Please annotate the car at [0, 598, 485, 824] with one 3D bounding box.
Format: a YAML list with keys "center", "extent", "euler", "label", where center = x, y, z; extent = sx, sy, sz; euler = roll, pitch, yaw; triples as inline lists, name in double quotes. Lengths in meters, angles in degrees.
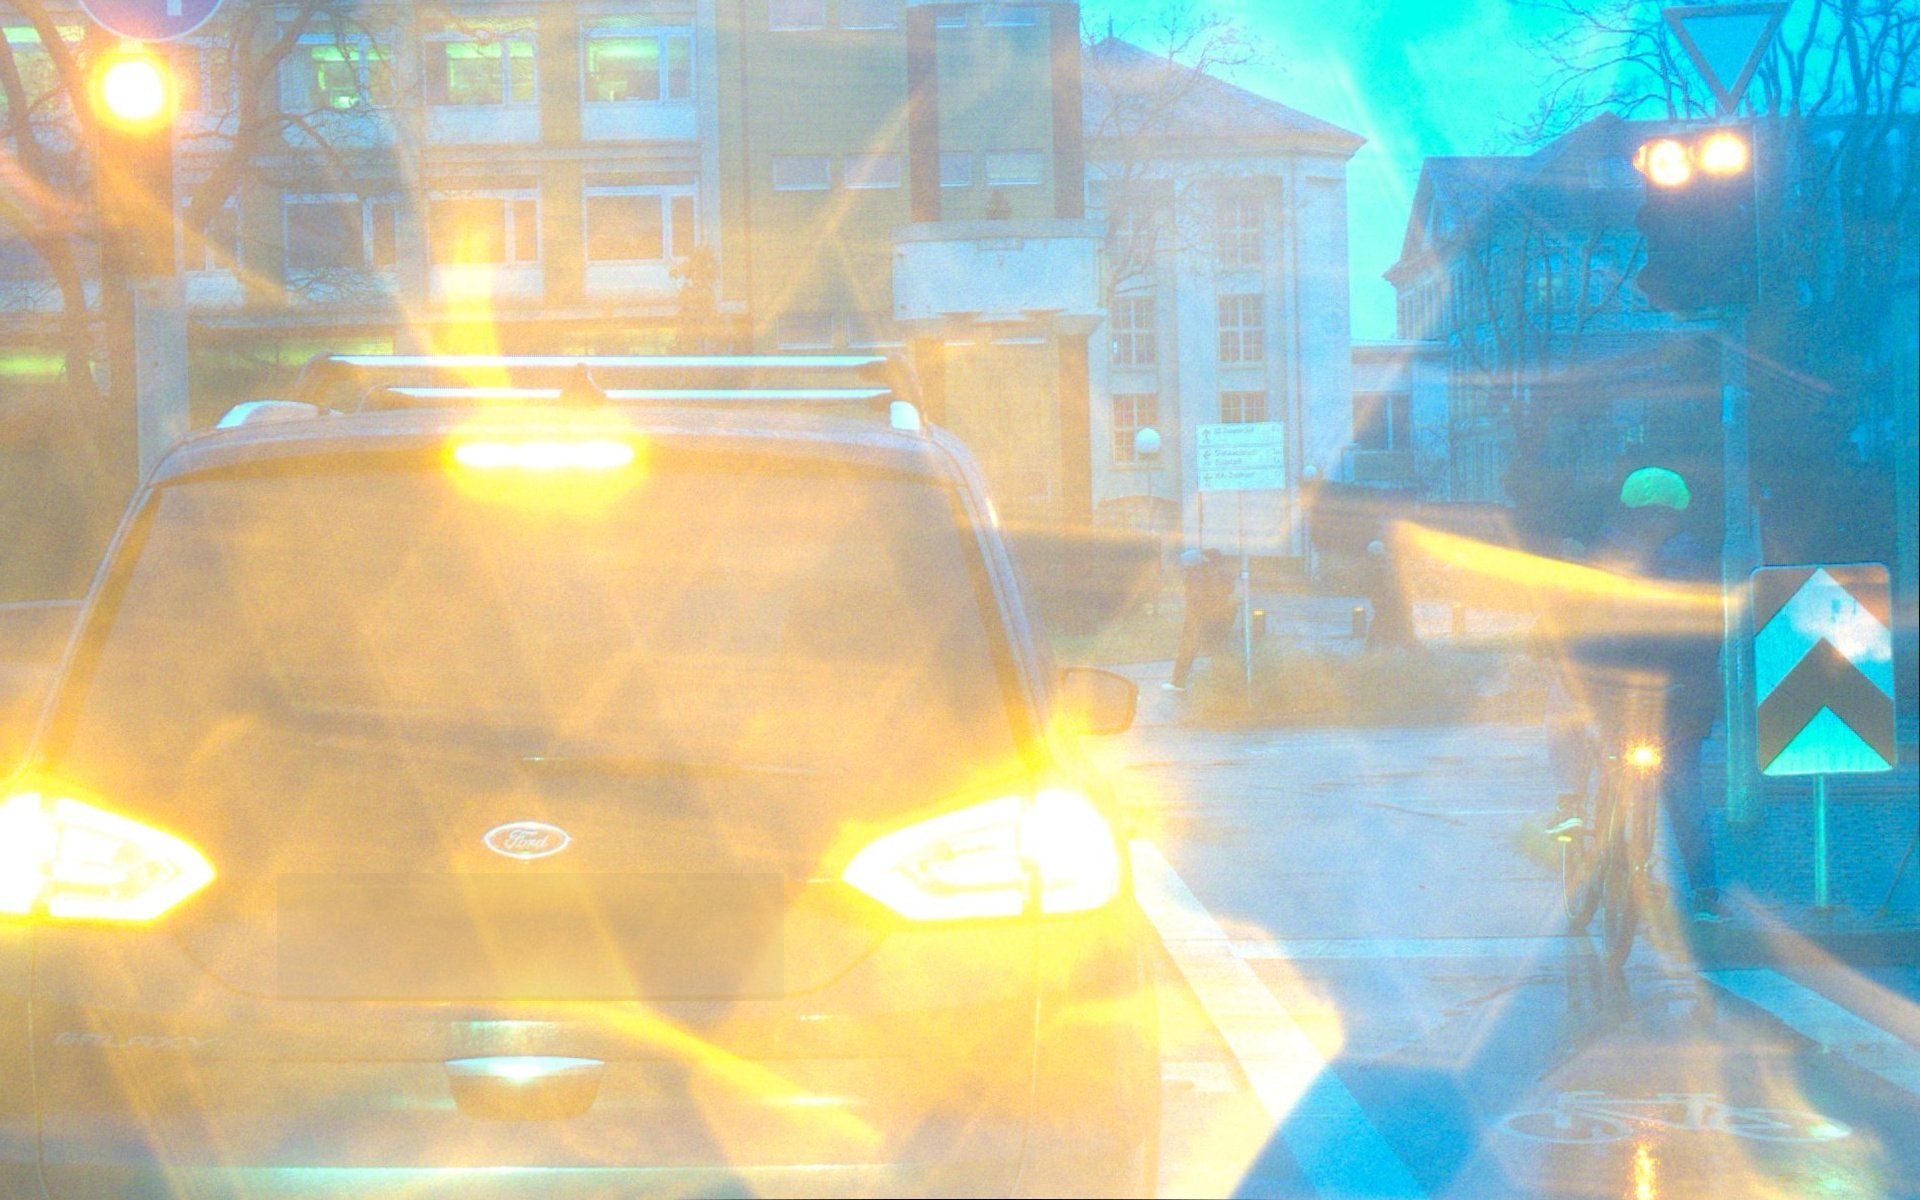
- center: [-5.904, 0.795, 24.599]
  extent: [4.580, 1.472, 1.810]
  euler: [-2, 0, 12]
  label: "car"

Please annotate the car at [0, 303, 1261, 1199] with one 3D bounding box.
- center: [-0.632, 0.488, 6.566]
  extent: [1.993, 1.783, 4.000]
  euler: [1, 1, -1]
  label: "car"

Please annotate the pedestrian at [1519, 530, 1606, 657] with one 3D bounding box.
- center: [7.507, -0.089, 42.849]
  extent: [0.924, 1.527, 1.043]
  euler: [-2, 1, 4]
  label: "pedestrian"

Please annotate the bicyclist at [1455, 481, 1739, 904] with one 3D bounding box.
- center: [2.277, 0.314, 12.417]
  extent: [0.783, 1.448, 1.134]
  euler: [1, 0, -1]
  label: "bicyclist"

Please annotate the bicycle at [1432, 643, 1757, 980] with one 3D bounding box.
- center: [2.257, 0.720, 12.481]
  extent: [0.783, 1.071, 1.957]
  euler: [1, 1, -1]
  label: "bicycle"

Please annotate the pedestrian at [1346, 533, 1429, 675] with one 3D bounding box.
- center: [5.543, 0.045, 44.546]
  extent: [0.997, 1.793, 0.919]
  euler: [-2, 1, 9]
  label: "pedestrian"

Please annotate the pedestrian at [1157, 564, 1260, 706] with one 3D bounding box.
- center: [3.139, 0.428, 43.293]
  extent: [1.136, 1.714, 0.981]
  euler: [-2, 1, 10]
  label: "pedestrian"
